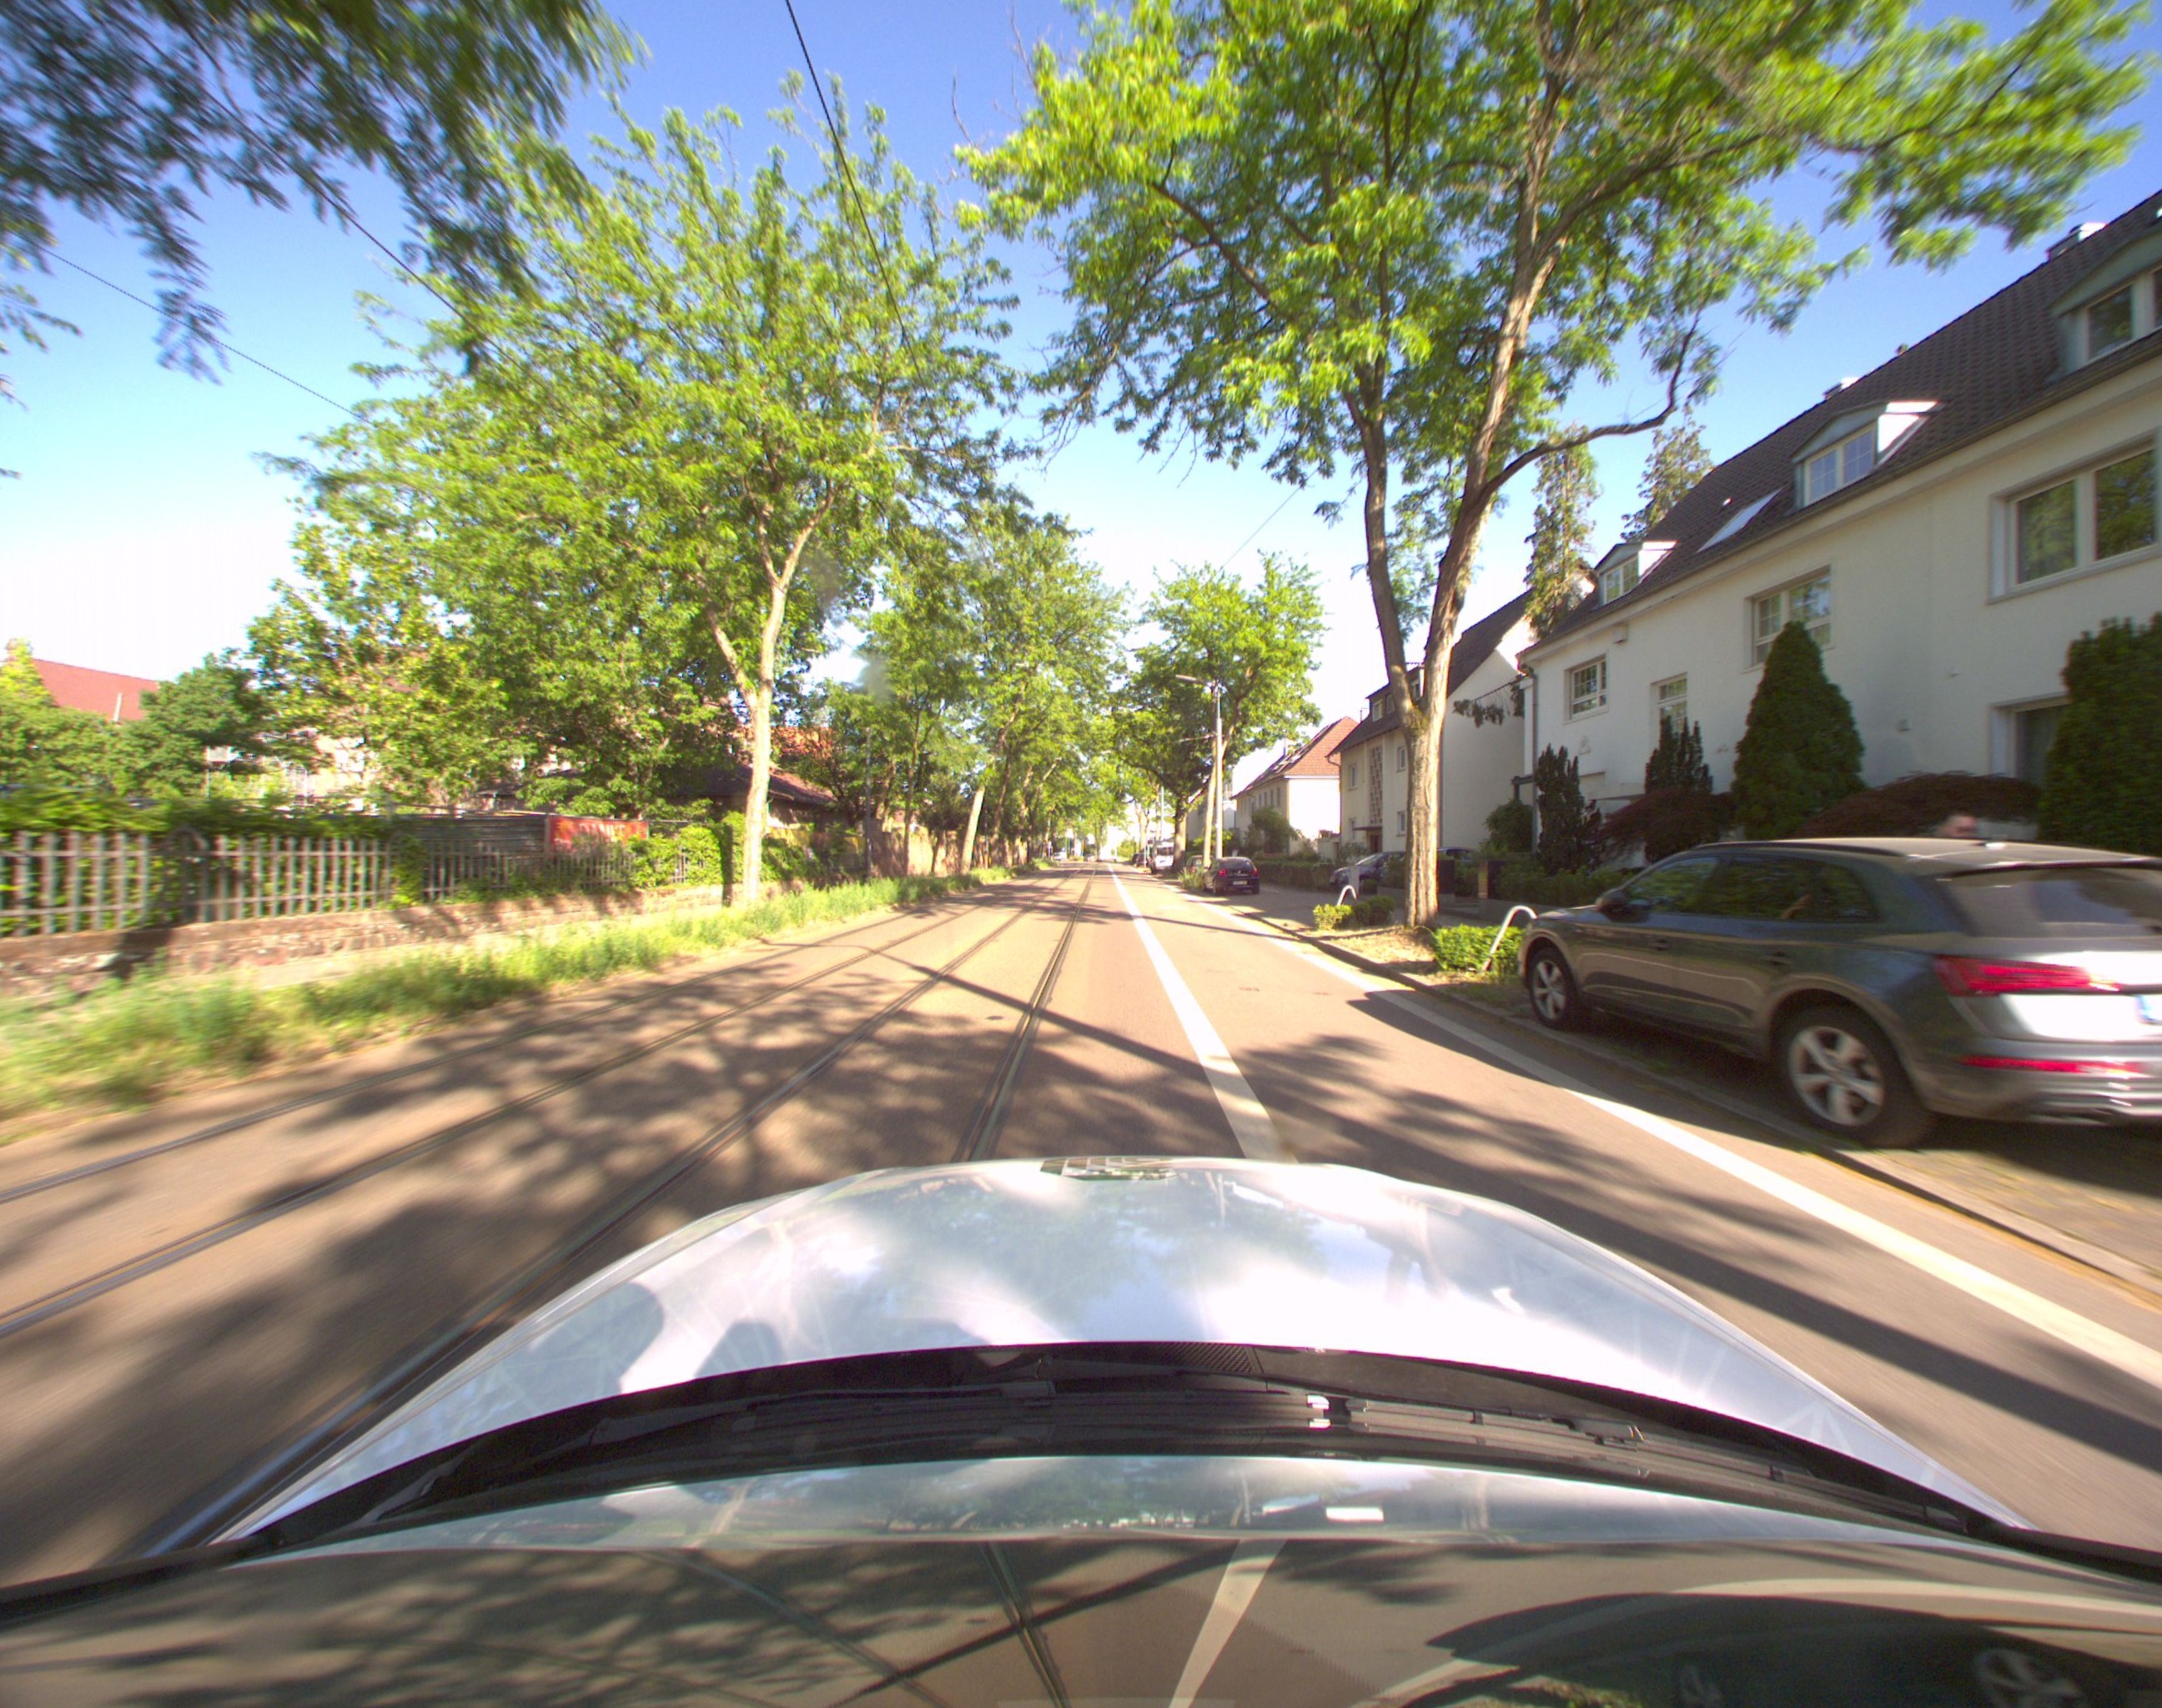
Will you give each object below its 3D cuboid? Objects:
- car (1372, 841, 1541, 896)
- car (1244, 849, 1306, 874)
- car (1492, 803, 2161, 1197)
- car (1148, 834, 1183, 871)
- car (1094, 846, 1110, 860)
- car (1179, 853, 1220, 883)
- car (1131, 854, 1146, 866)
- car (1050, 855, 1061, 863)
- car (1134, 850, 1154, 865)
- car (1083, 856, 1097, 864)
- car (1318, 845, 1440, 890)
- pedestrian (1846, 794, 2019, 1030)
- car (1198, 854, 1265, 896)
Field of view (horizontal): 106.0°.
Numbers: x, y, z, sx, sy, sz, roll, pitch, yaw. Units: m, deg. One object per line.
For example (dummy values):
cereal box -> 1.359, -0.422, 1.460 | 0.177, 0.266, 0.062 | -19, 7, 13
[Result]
car -> 11.628, 0.432, 25.474 | 4.402, 1.489, 1.860 | -2, 0, 4
car -> 12.290, 0.474, 51.551 | 3.399, 1.436, 1.727 | -1, 0, -12
car -> 5.079, 0.615, 5.842 | 1.987, 1.704, 4.477 | -3, 0, 1
car -> 6.543, -0.102, 63.412 | 2.237, 2.654, 5.586 | -2, 0, 1
car -> 3.765, -0.234, 148.975 | 1.995, 2.458, 4.491 | 0, 0, -11
car -> 6.031, 0.672, 41.778 | 1.621, 1.397, 3.646 | -3, 0, 1
car -> 8.004, 0.807, 112.923 | 1.993, 1.675, 4.399 | -2, 0, 5
car -> -5.520, 1.144, 177.910 | 1.865, 1.675, 4.160 | 0, 0, -9
car -> 7.340, 0.364, 95.271 | 1.995, 1.675, 4.393 | -2, 0, 1
car -> 1.837, 1.228, 166.820 | 2.003, 1.560, 4.376 | 0, 0, -11
car -> 10.699, 0.479, 29.405 | 3.731, 1.489, 1.737 | -1, 0, -4
pedestrian -> 7.191, 0.468, 6.916 | 0.623, 1.870, 0.732 | -3, 0, 0
car -> 5.861, 0.787, 32.241 | 1.778, 1.448, 4.300 | -3, 0, 0
